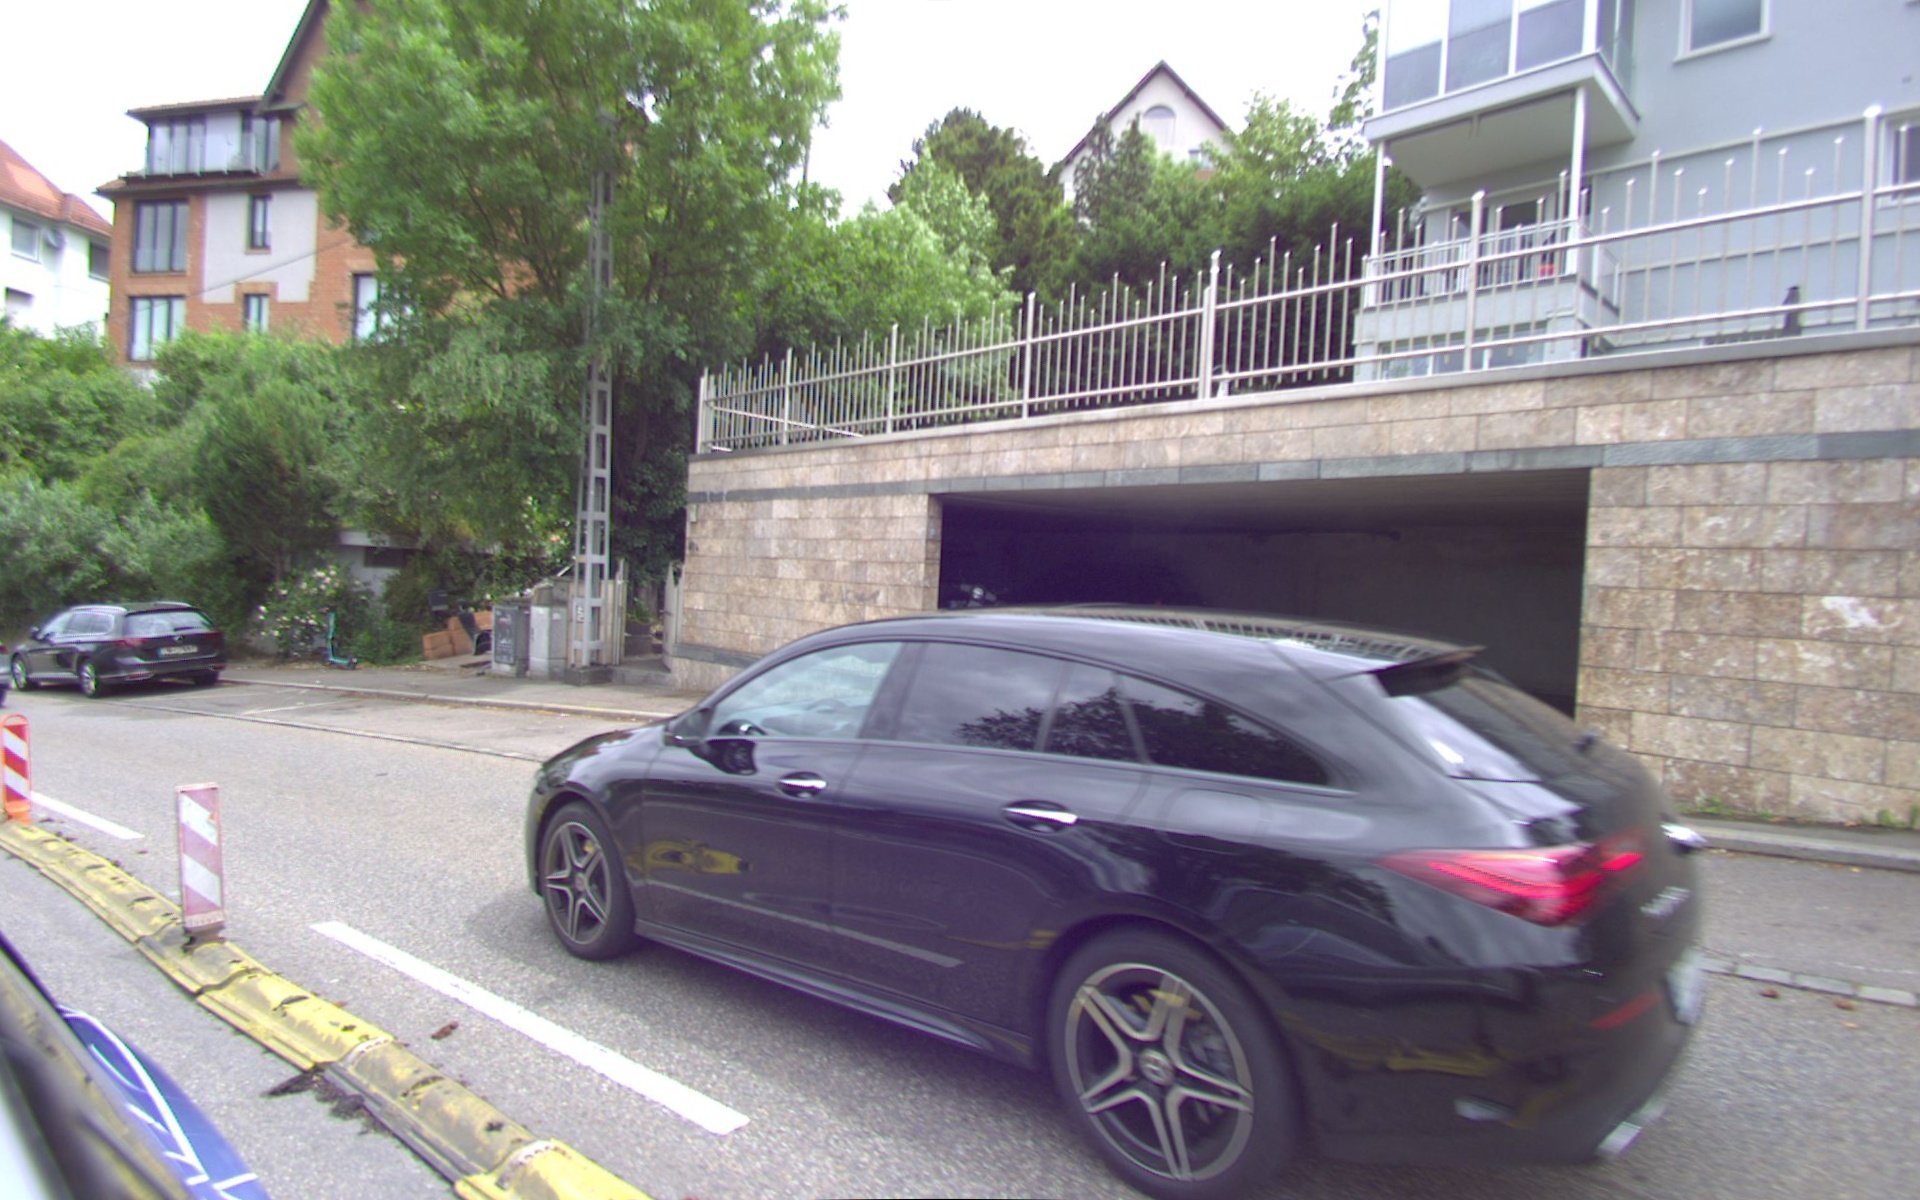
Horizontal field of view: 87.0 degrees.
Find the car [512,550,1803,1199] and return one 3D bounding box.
[{"bbox_3d":[0.269,0.667,3.647,4.217,1.465,1.843,-1,0,41],"label":"car"}]

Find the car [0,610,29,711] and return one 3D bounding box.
[{"bbox_3d":[-16.212,0.933,15.427,4.182,1.481,1.783,-1,0,29],"label":"car"}]

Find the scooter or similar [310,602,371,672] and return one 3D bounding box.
[{"bbox_3d":[-11.679,0.694,19.094,0.956,1.266,0.404,-1,3,19],"label":"scooter or similar"}]

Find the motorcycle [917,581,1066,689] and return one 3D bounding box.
[{"bbox_3d":[0.403,0.380,12.193,1.816,1.192,0.638,-1,4,-41],"label":"motorcycle"}]

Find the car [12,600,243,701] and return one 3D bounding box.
[{"bbox_3d":[-14.254,0.804,17.305,3.700,1.445,1.807,-1,3,30],"label":"car"}]

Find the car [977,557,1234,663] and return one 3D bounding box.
[{"bbox_3d":[2.379,0.107,17.223,4.002,1.462,1.722,5,2,43],"label":"car"}]

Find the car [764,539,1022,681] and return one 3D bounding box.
[{"bbox_3d":[-1.015,0.030,13.868,1.550,1.616,3.591,-1,4,-44],"label":"car"}]
